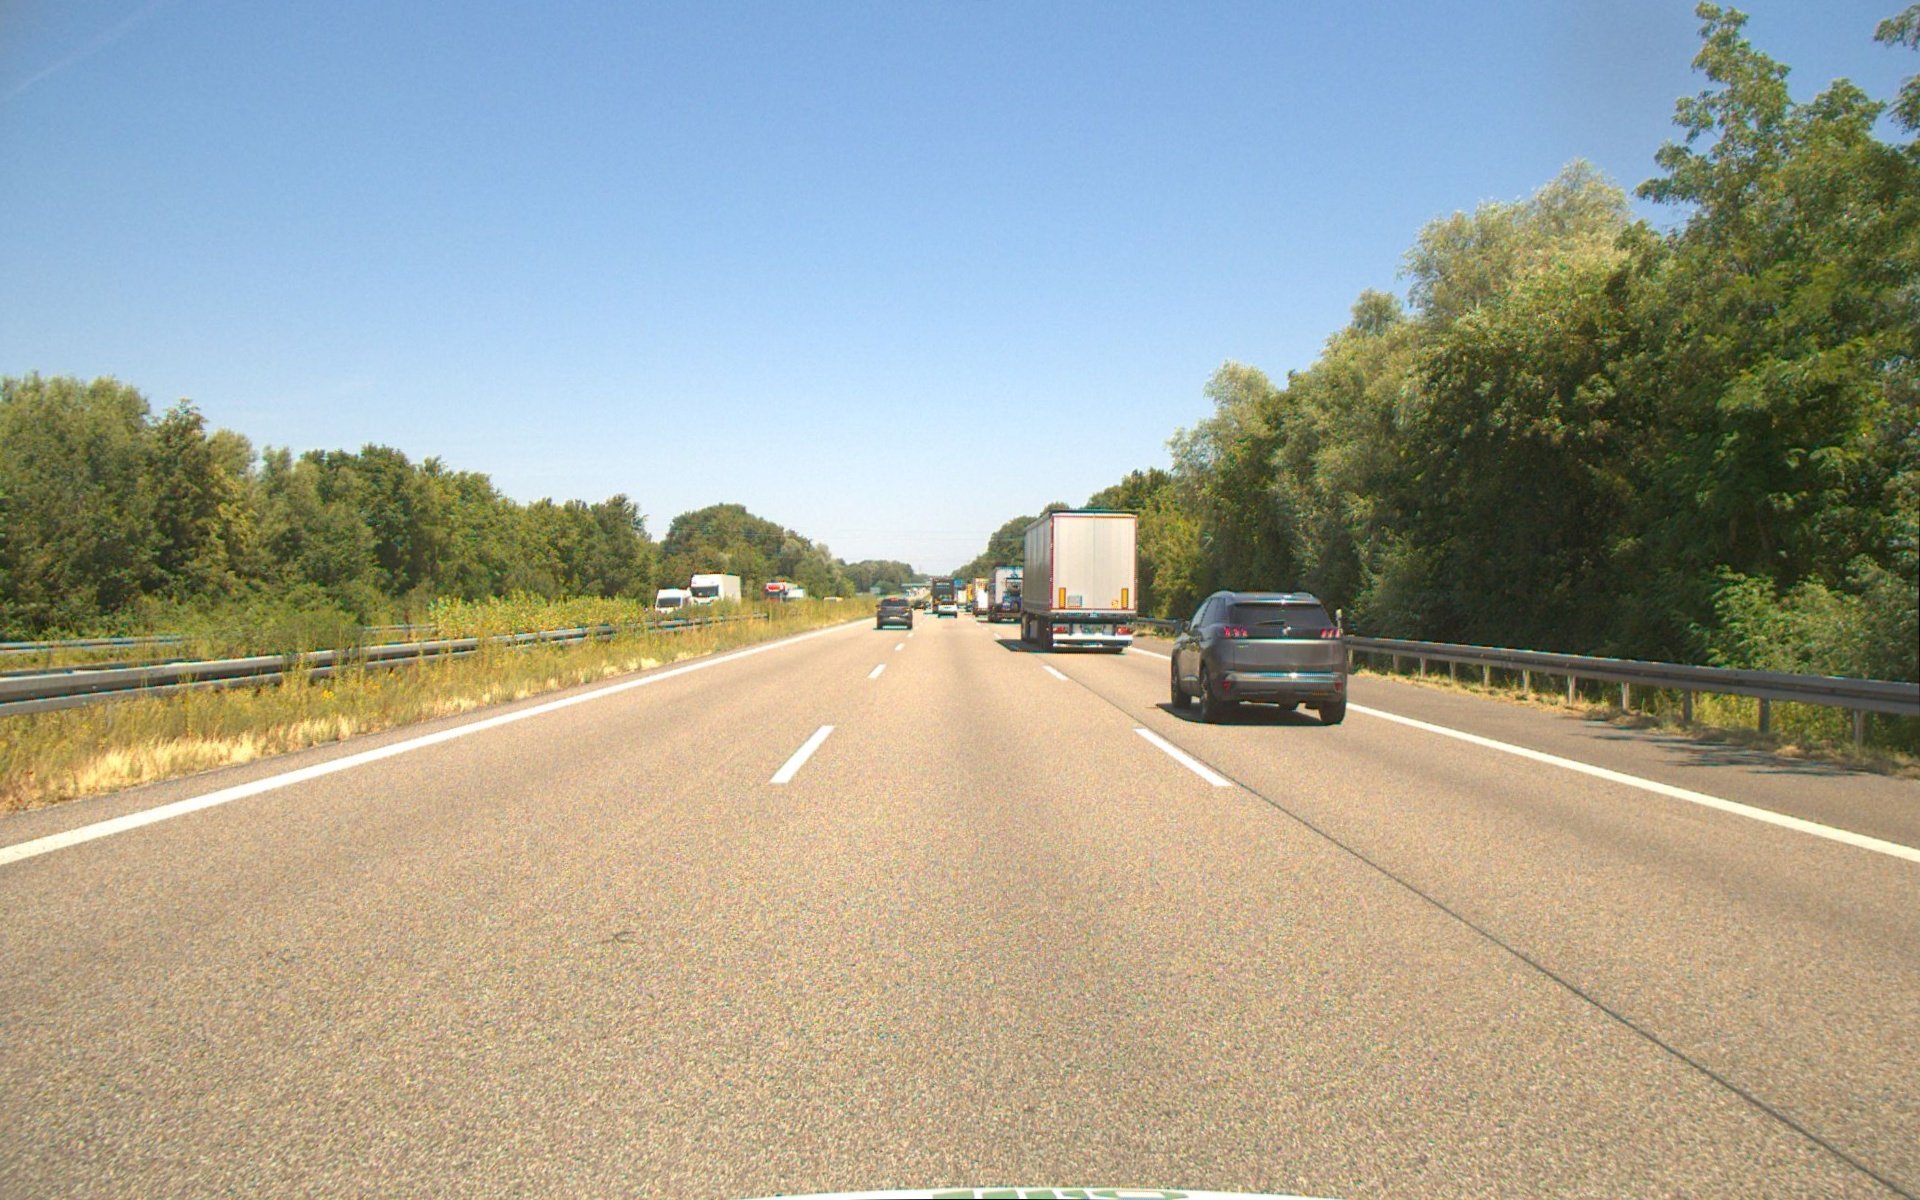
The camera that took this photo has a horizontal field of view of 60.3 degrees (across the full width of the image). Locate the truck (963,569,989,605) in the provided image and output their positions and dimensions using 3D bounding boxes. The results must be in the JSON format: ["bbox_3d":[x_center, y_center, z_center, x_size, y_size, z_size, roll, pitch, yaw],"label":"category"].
[{"bbox_3d":[1.772,-1.482,179.746,2.735,3.790,7.109,1,1,1],"label":"truck"}]

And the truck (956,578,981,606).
[{"bbox_3d":[1.264,-1.201,236.919,3.417,3.790,7.109,1,1,1],"label":"truck"}]

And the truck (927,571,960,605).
[{"bbox_3d":[-1.833,-1.416,191.420,3.592,3.790,7.109,1,1,1],"label":"truck"}]

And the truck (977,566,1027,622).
[{"bbox_3d":[3.032,-0.533,122.237,2.996,3.946,10.029,1,1,-2],"label":"truck"}]

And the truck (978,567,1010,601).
[{"bbox_3d":[3.881,-1.857,191.605,3.592,3.790,7.109,1,1,1],"label":"truck"}]

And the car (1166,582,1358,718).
[{"bbox_3d":[3.944,0.586,22.238,1.807,1.657,4.135,0,1,0],"label":"car"}]

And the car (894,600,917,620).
[{"bbox_3d":[-4.698,0.857,142.464,1.862,1.557,4.084,1,1,-1],"label":"car"}]

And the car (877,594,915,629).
[{"bbox_3d":[-3.162,0.555,82.636,1.723,1.557,4.285,1,1,-1],"label":"car"}]

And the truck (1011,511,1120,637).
[{"bbox_3d":[3.717,-0.865,60.018,3.393,4.250,6.843,1,0,-1],"label":"truck"}]

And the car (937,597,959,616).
[{"bbox_3d":[-1.070,0.569,146.429,1.862,1.557,4.084,1,1,-1],"label":"car"}]

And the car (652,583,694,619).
[{"bbox_3d":[-20.741,0.057,119.626,2.060,2.506,6.014,-1,0,-1],"label":"car"}]

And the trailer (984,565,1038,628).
[{"bbox_3d":[3.355,-0.323,112.315,3.059,3.995,9.934,1,1,-2],"label":"trailer"}]

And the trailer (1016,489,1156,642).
[{"bbox_3d":[3.765,-0.983,53.345,3.364,4.254,13.631,1,0,0],"label":"trailer"}]

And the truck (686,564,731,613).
[{"bbox_3d":[-22.147,-1.028,145.766,3.009,4.183,6.524,1,1,-1],"label":"truck"}]

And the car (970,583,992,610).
[{"bbox_3d":[1.975,-0.372,155.625,1.868,2.467,4.285,1,1,-1],"label":"car"}]
